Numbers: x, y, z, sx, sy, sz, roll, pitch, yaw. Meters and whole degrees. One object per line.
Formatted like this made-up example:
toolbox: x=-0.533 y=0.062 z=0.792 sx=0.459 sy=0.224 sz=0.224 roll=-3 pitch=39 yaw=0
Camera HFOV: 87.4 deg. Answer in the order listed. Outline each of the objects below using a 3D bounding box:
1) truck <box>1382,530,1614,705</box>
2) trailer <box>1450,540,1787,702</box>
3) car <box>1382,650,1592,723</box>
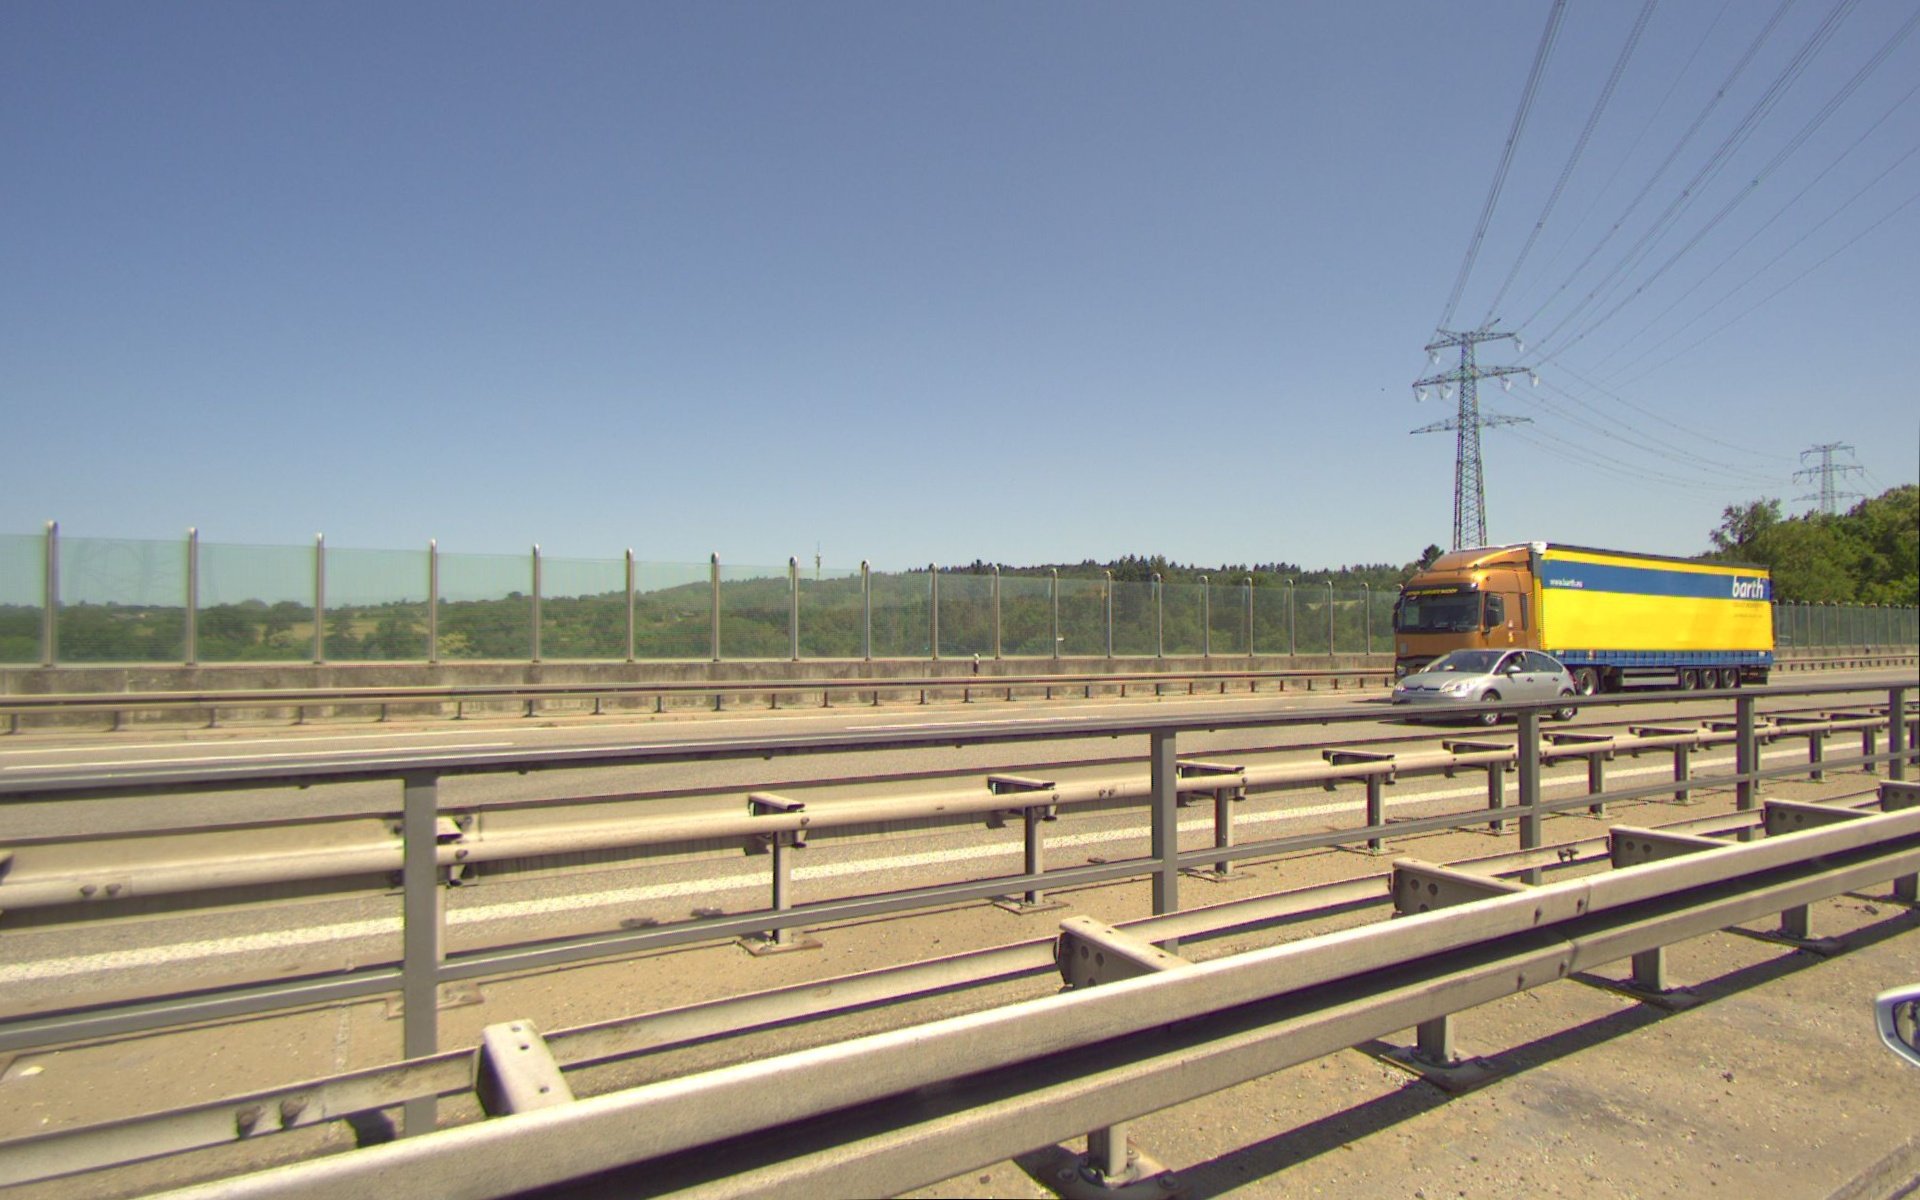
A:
truck: x=14.586 y=0.540 z=27.130 sx=6.212 sy=4.240 sz=2.660 roll=2 pitch=-2 yaw=-30
trailer: x=20.367 y=0.776 z=30.469 sx=13.850 sy=4.168 sz=2.616 roll=2 pitch=-1 yaw=-30
car: x=10.374 y=1.661 z=19.738 sx=3.961 sy=1.320 sz=1.683 roll=2 pitch=-4 yaw=-27
